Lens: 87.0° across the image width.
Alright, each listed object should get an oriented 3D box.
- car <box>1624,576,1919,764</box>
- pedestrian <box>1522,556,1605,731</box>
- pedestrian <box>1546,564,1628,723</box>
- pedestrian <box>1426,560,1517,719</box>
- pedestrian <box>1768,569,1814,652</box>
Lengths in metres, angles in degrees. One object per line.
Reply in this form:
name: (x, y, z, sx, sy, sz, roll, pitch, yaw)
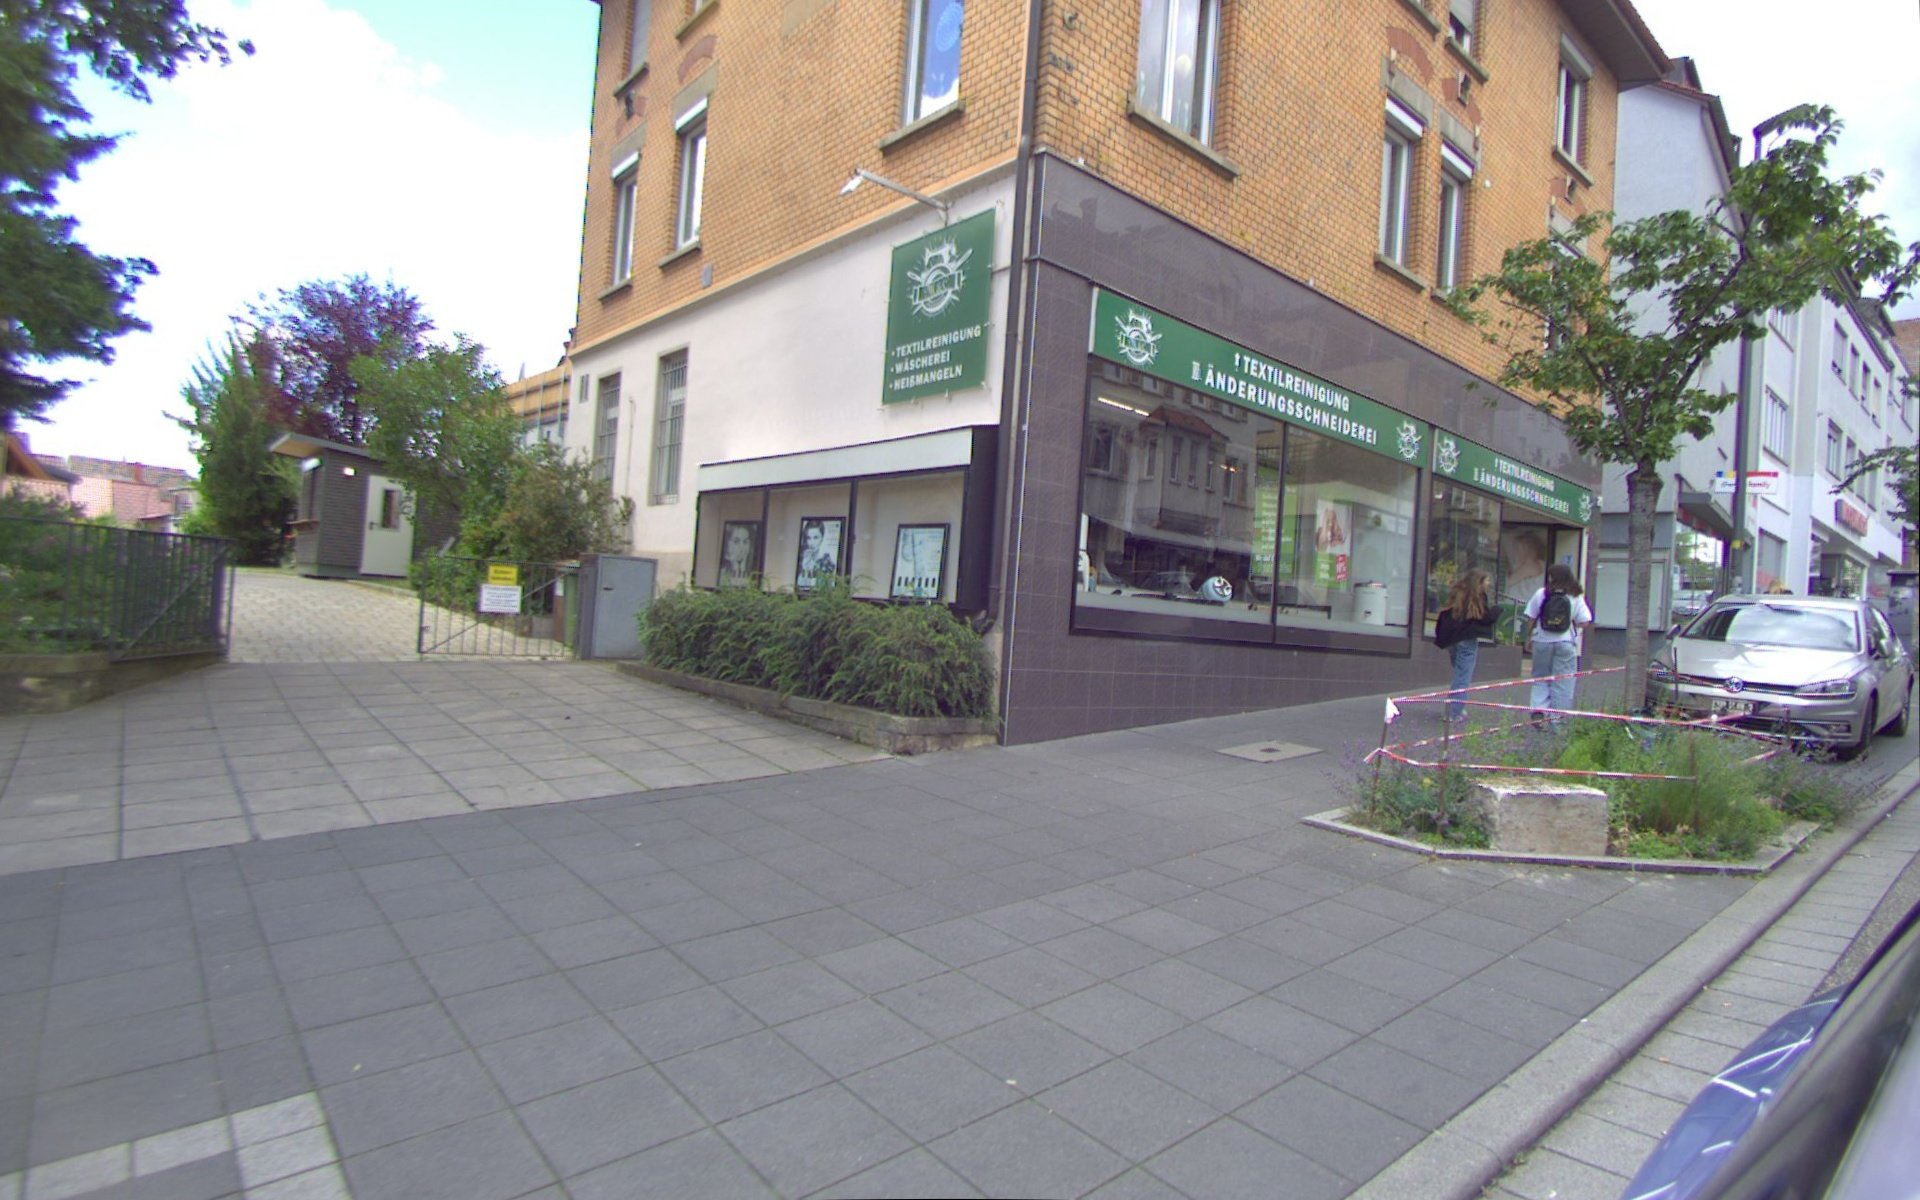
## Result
car: (8.528, 0.566, 10.378, 3.877, 1.465, 1.816, 0, 4, -41)
pedestrian: (5.894, 0.401, 9.881, 0.564, 1.622, 0.519, 4, 3, 36)
pedestrian: (6.445, 0.425, 10.436, 0.561, 1.558, 0.521, 4, 3, 25)
pedestrian: (5.202, 0.383, 10.299, 0.582, 1.539, 0.556, 0, 3, -39)
pedestrian: (16.169, 0.199, 19.693, 0.566, 1.558, 0.517, 5, 4, 43)
